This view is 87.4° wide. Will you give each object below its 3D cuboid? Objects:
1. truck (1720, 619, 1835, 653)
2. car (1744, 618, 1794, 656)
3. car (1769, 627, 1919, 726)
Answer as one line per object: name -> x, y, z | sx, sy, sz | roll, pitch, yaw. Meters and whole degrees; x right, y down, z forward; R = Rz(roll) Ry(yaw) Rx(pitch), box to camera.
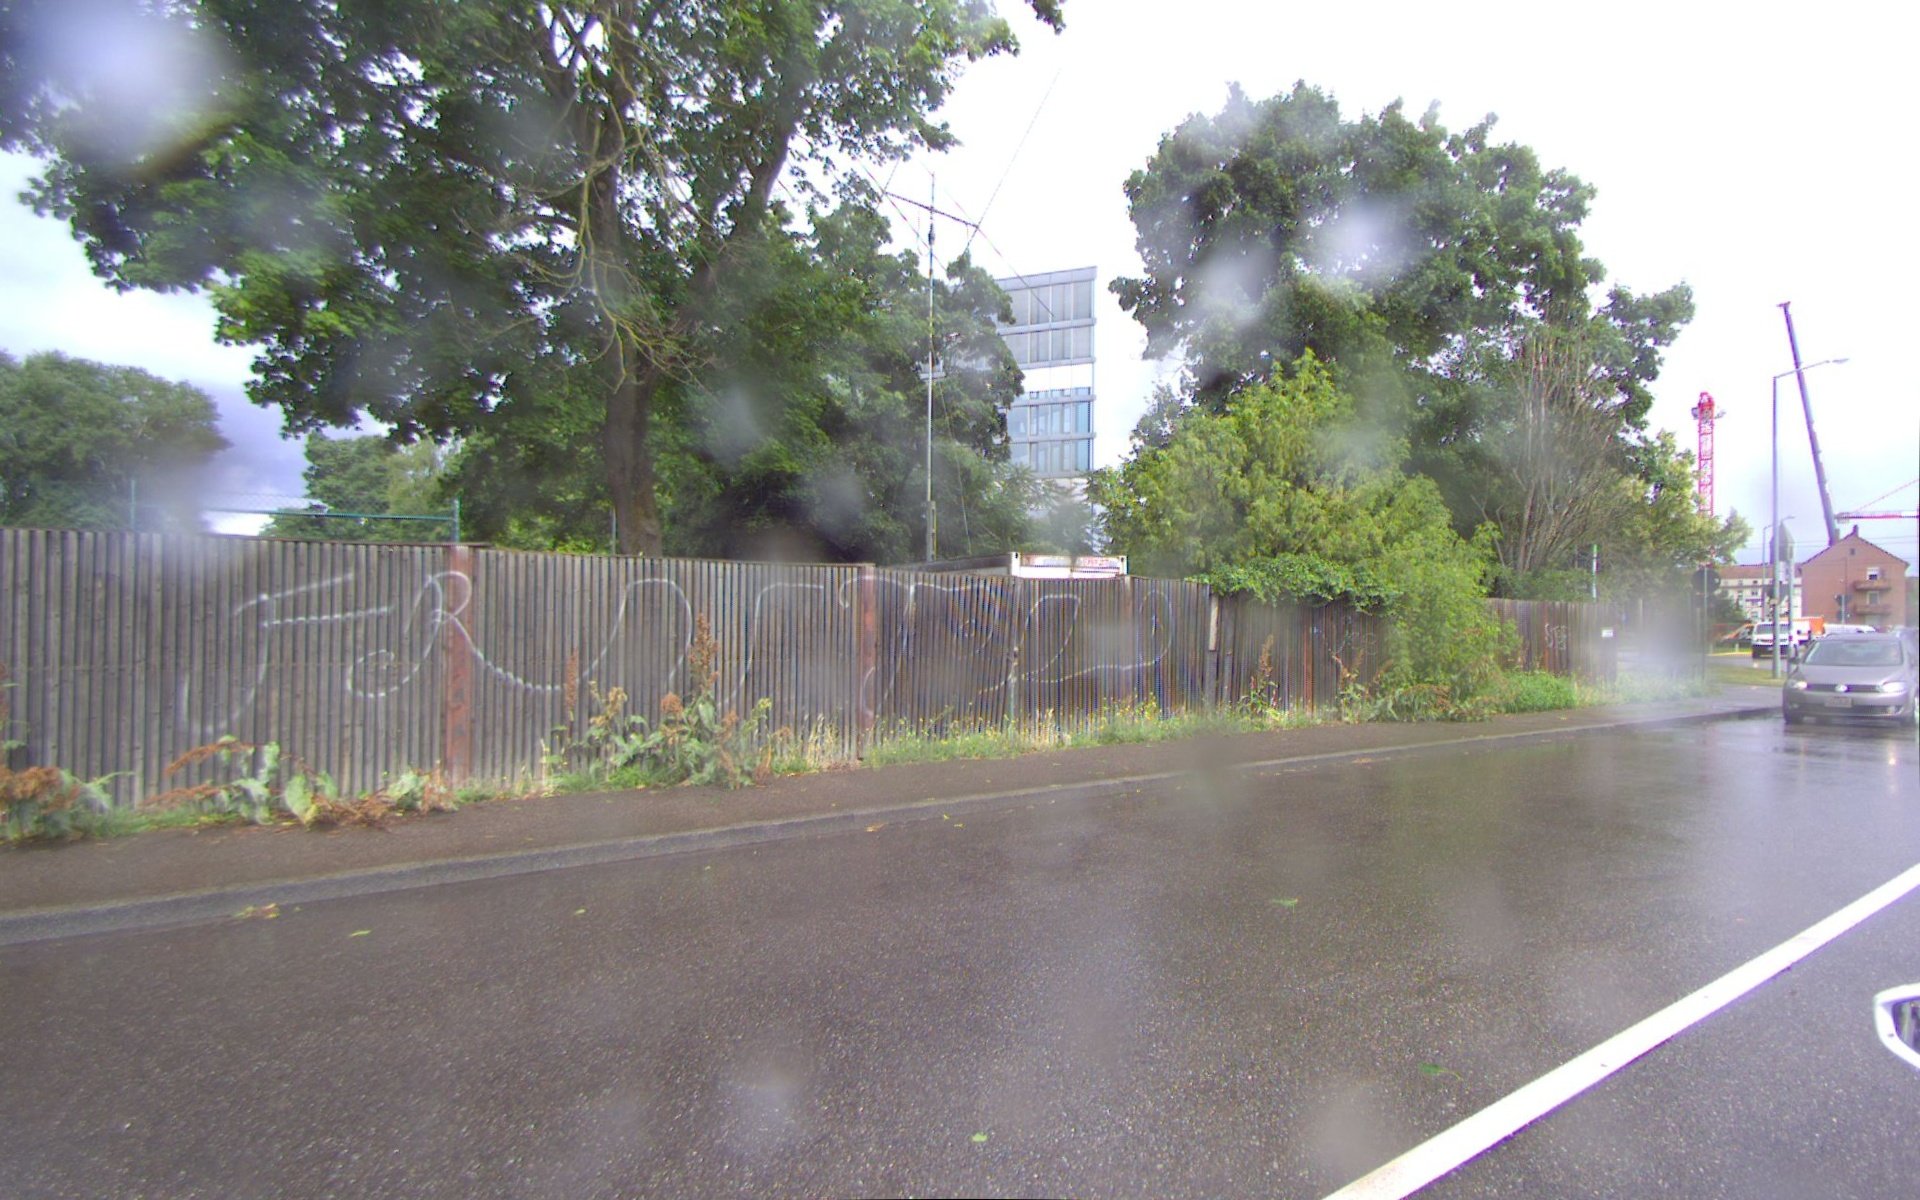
truck -> 62.377, 2.685, 76.855 | 6.615, 2.475, 2.426 | -1, -1, 36
car -> 43.206, 1.947, 53.605 | 1.867, 1.901, 5.105 | -1, -2, 42
car -> 16.219, 1.318, 18.121 | 4.392, 1.572, 1.766 | 2, -4, -41
